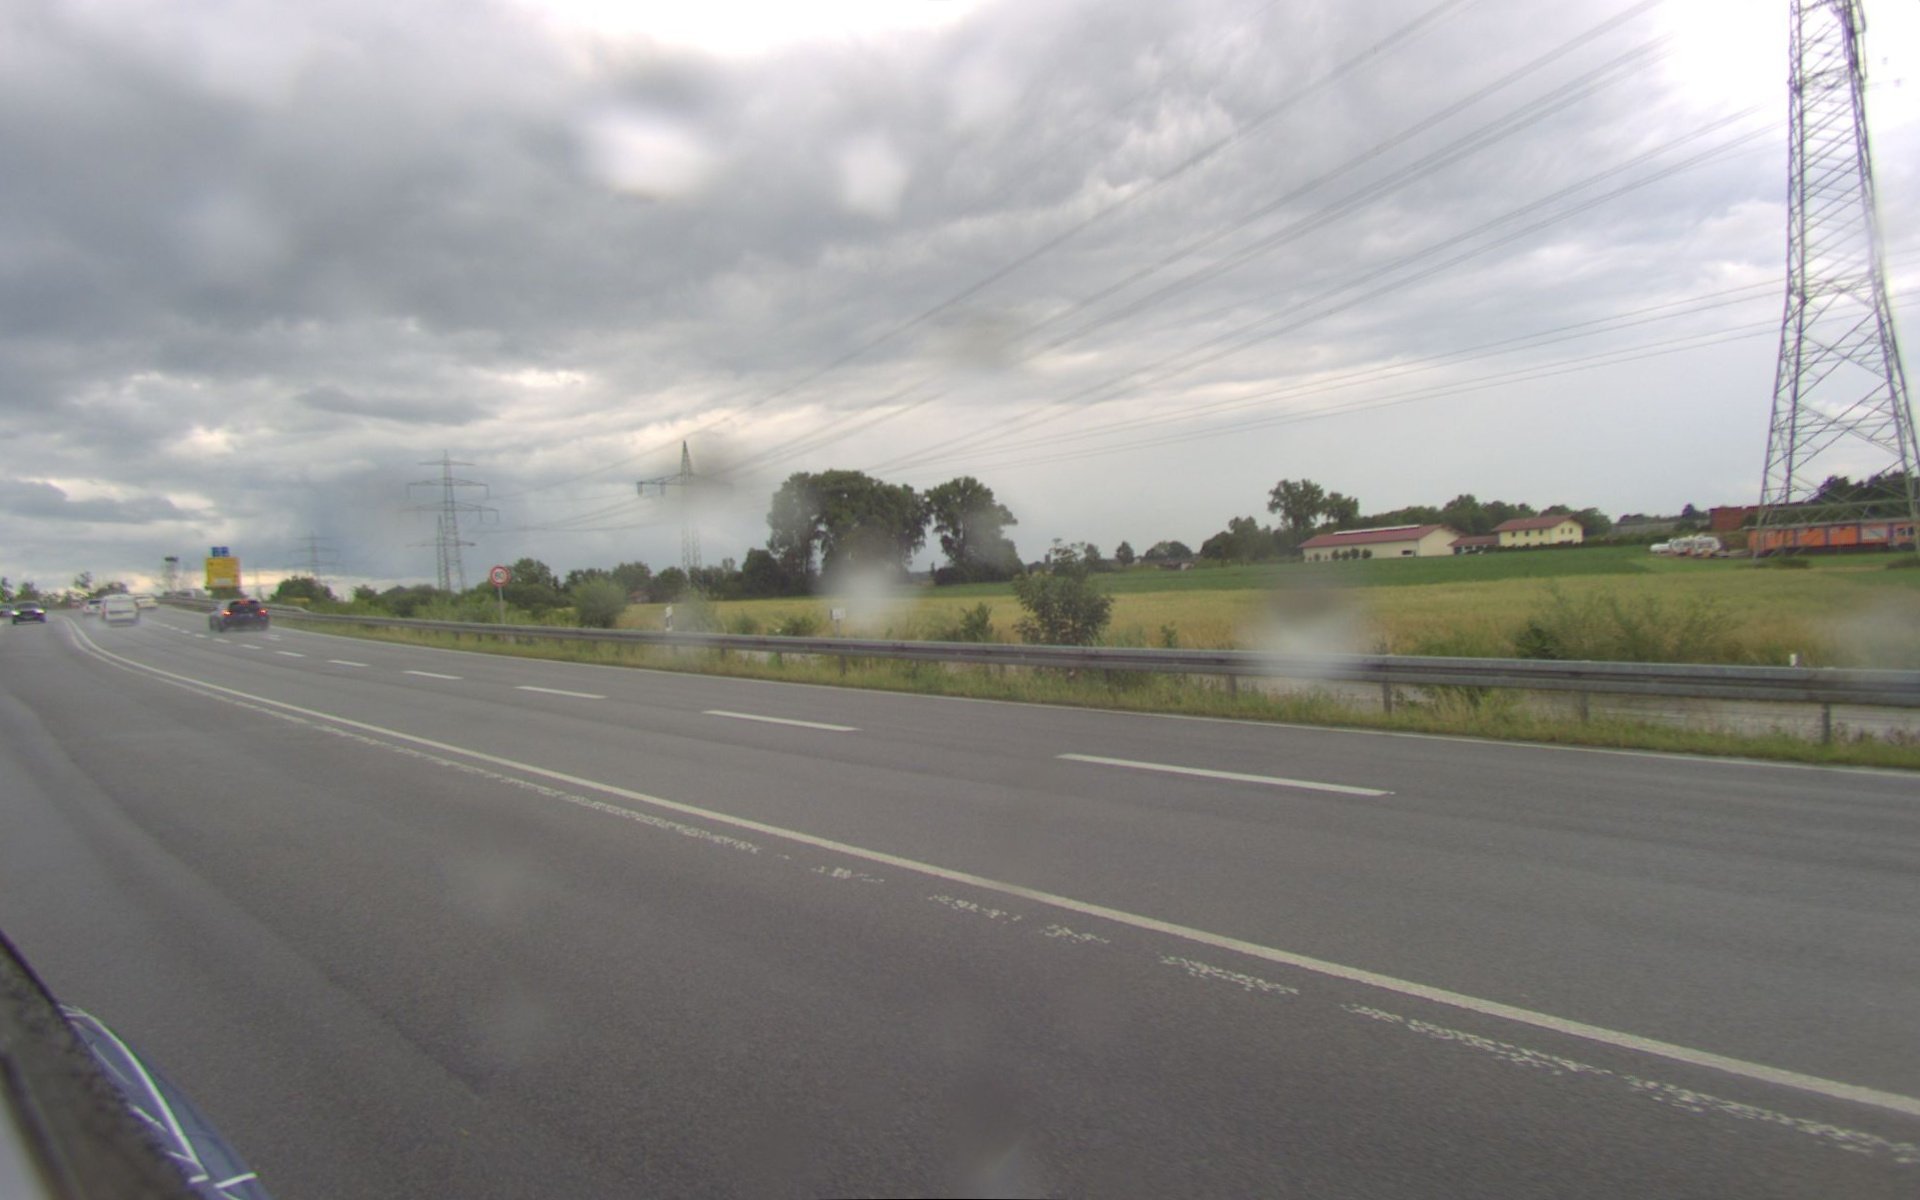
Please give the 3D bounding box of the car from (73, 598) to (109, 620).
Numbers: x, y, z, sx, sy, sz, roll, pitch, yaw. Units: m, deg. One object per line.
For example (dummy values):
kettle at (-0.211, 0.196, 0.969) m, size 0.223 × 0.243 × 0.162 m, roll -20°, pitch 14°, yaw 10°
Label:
car at (-63.753, 0.627, 74.199) m, size 1.746 × 1.511 × 4.214 m, roll -3°, pitch 2°, yaw -43°

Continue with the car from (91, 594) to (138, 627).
car at (-48.268, 0.597, 57.728) m, size 1.769 × 1.678 × 4.375 m, roll -6°, pitch 4°, yaw -42°

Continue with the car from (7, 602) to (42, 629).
car at (-69.025, 1.141, 74.700) m, size 1.770 × 1.782 × 4.004 m, roll -3°, pitch 0°, yaw -43°

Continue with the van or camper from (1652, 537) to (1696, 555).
van or camper at (117.447, -8.842, 166.471) m, size 5.697 × 2.651 × 2.305 m, roll -2°, pitch 4°, yaw 32°

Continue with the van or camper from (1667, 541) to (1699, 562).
van or camper at (99.740, -6.709, 139.601) m, size 2.314 × 2.651 × 5.675 m, roll -2°, pitch 3°, yaw 23°

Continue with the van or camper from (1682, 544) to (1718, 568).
van or camper at (92.589, -5.536, 126.727) m, size 2.314 × 2.651 × 5.675 m, roll -2°, pitch 3°, yaw 23°

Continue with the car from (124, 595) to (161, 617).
car at (-69.962, 0.470, 86.566) m, size 1.921 × 1.672 × 4.649 m, roll -6°, pitch 4°, yaw -45°

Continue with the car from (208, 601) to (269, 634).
car at (-33.427, 0.779, 46.827) m, size 1.872 × 1.452 × 4.907 m, roll -1°, pitch 0°, yaw -41°
